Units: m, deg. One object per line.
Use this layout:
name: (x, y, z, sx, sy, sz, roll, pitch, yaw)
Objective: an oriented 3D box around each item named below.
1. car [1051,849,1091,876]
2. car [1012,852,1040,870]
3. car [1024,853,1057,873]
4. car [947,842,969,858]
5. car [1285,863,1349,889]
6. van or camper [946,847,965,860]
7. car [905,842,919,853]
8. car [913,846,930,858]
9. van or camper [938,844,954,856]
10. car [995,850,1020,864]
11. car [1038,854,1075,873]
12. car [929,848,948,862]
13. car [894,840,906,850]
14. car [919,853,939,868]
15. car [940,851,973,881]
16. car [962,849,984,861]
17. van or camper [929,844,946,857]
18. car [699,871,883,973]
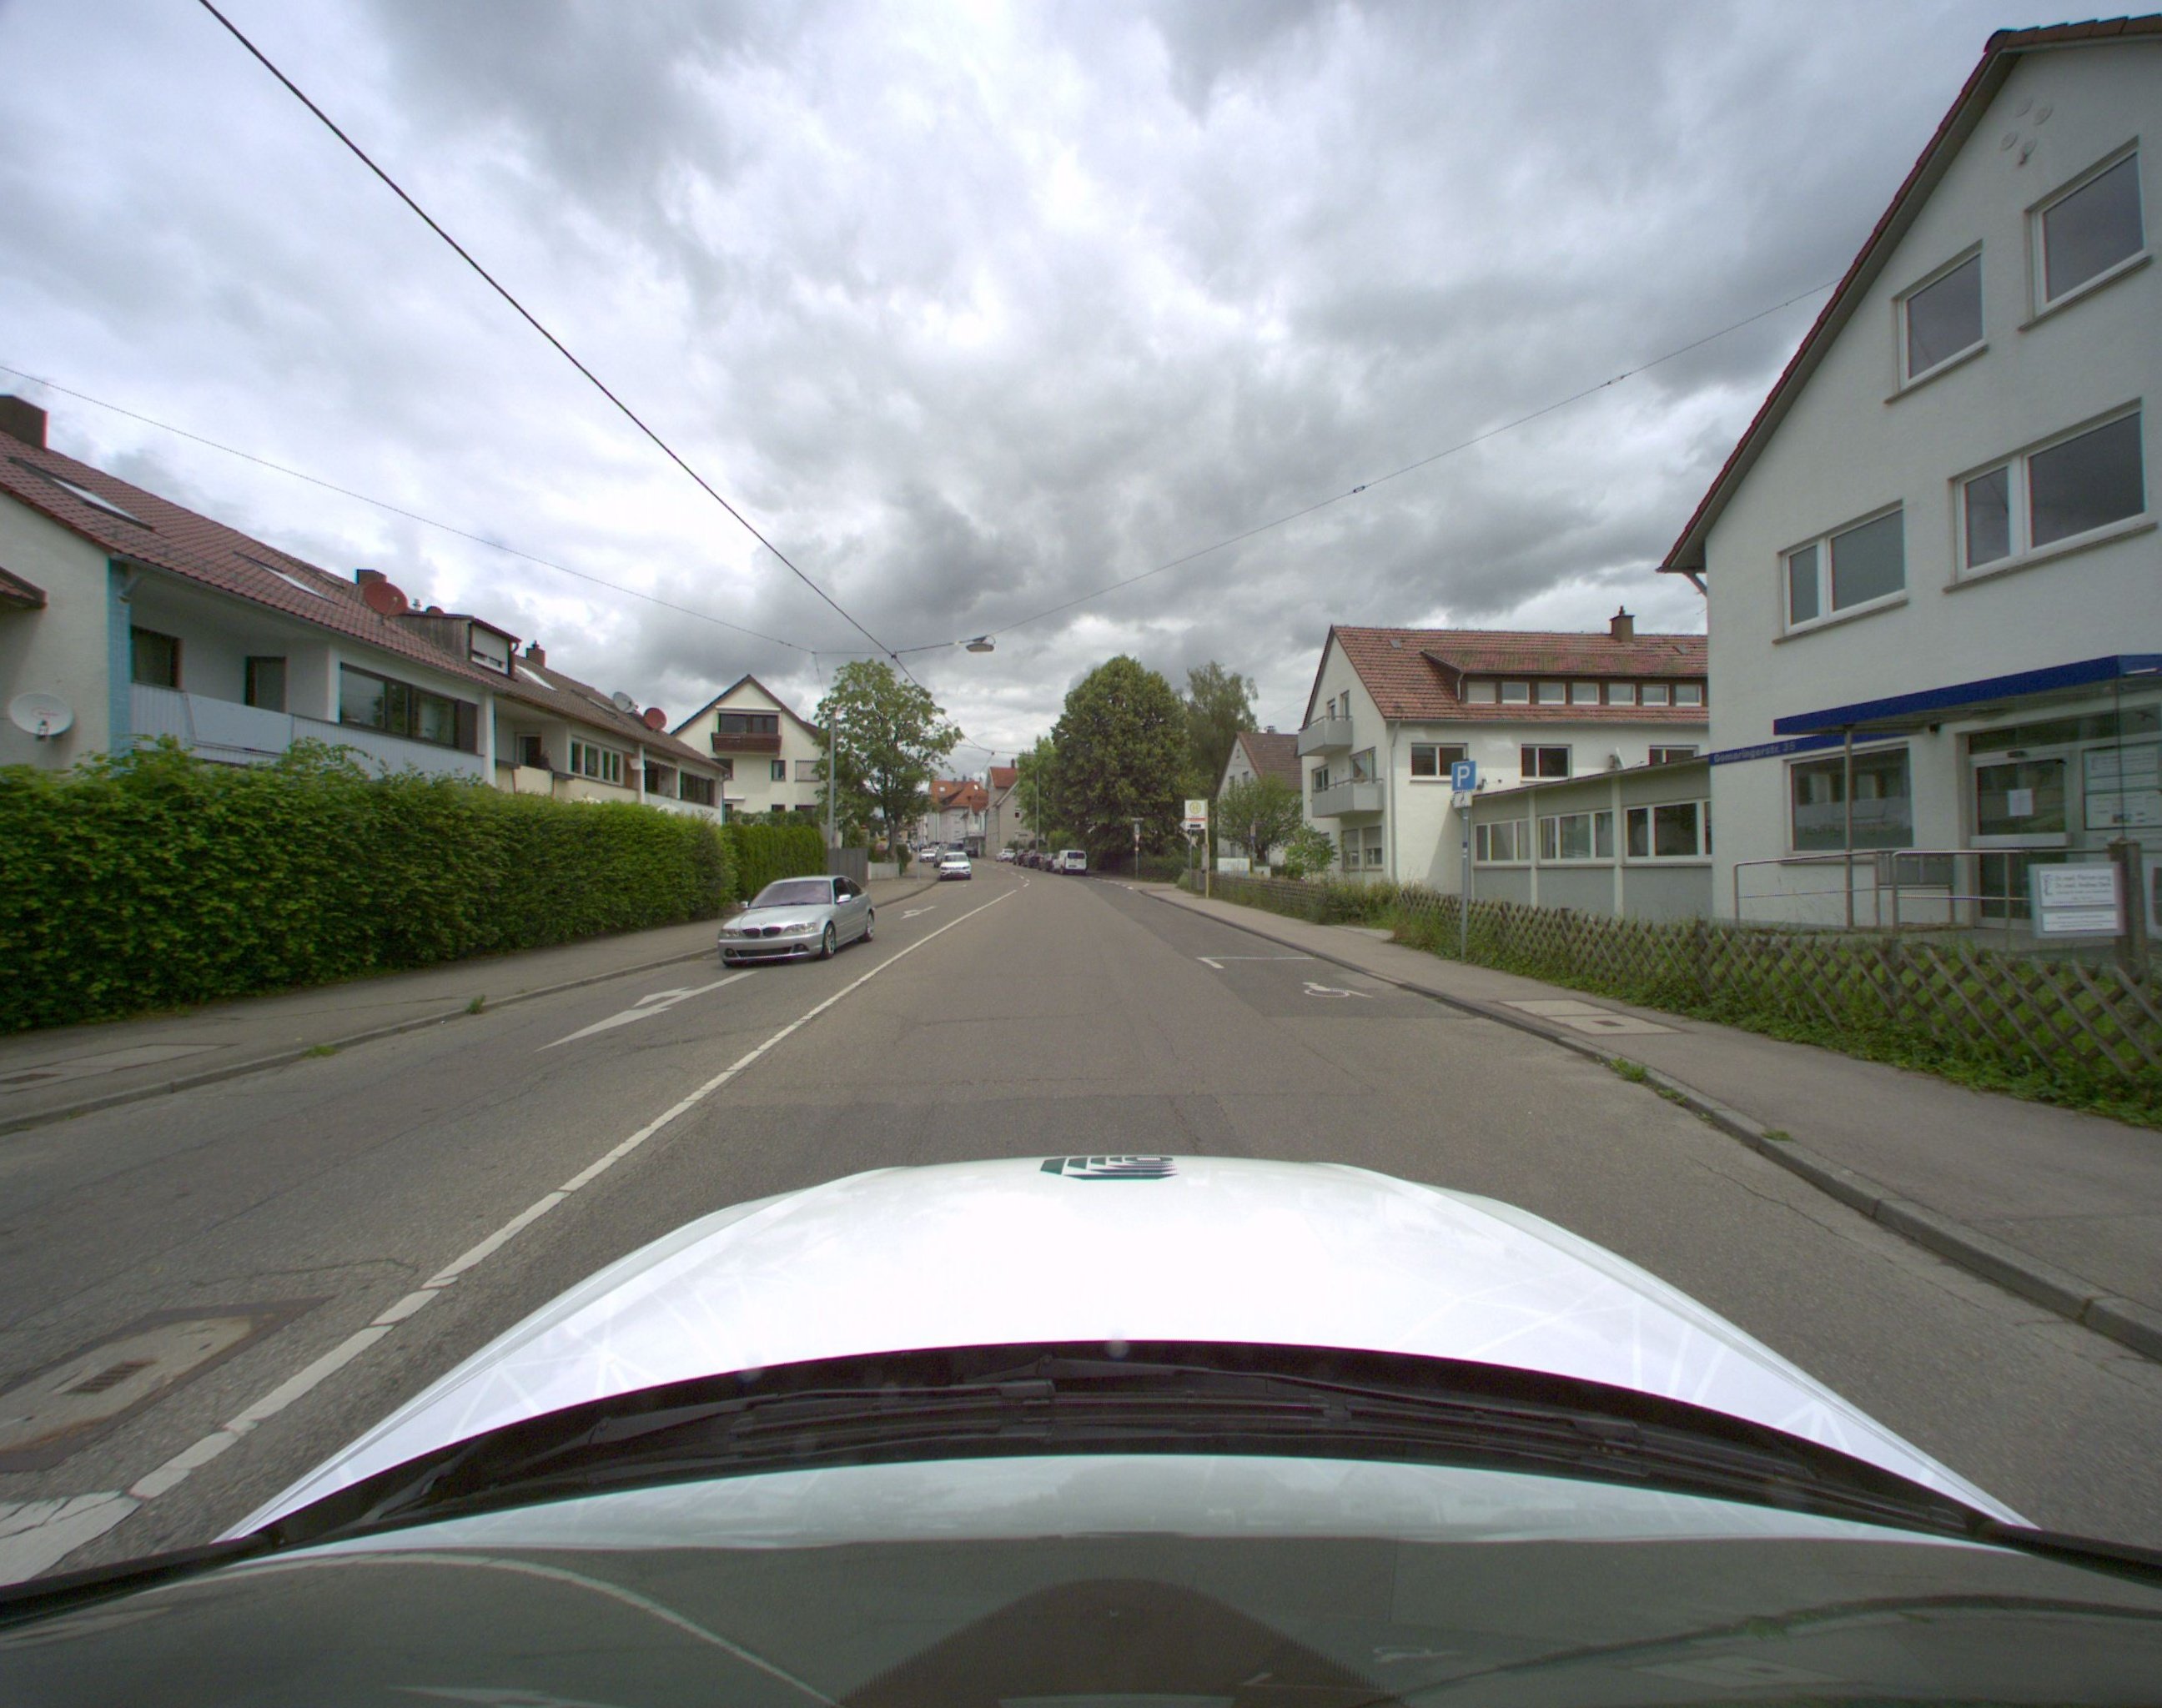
car: (-0.757, 0.565, 59.480, 1.841, 1.774, 4.295, 3, 0, -16)
car: (-5.264, 0.604, 76.963, 1.813, 1.615, 4.517, 2, 0, -14)
car: (-3.600, 0.734, 71.381, 1.996, 1.615, 4.517, 2, 0, -14)
car: (-16.288, -0.599, 107.583, 2.159, 2.013, 3.974, 2, 0, -20)
car: (15.343, 1.451, 53.057, 3.706, 1.564, 1.677, 2, -2, -18)
van or camper: (-19.014, -0.100, 123.191, 1.932, 1.925, 4.799, 1, 0, -19)
car: (-32.811, -1.211, 157.928, 2.159, 2.013, 3.974, 2, 0, -20)
car: (-27.294, -0.352, 139.130, 2.159, 2.013, 3.974, 2, 0, -20)
van or camper: (-22.350, -0.659, 134.615, 1.877, 1.828, 4.650, 2, 0, -19)
car: (-7.968, 0.305, 88.033, 1.944, 1.439, 3.979, 1, 1, -15)
car: (-2.022, 0.742, 64.711, 1.996, 1.478, 4.597, 0, 0, -14)
car: (-21.675, 0.166, 123.401, 2.159, 2.013, 3.974, 2, 0, -20)
car: (-39.019, -1.892, 175.476, 2.159, 2.013, 3.974, 2, 0, -20)
car: (-16.650, 0.677, 88.965, 1.730, 1.458, 3.877, -3, 1, -16)
car: (-7.624, 0.693, 50.016, 1.849, 1.714, 4.561, -2, 0, -8)
car: (-14.975, 0.098, 112.585, 1.999, 1.517, 4.860, 2, 0, -19)
van or camper: (-25.037, -0.577, 141.781, 1.999, 2.065, 5.907, 3, 0, -19)
car: (-4.935, 1.078, 14.529, 1.707, 1.354, 4.082, -5, 0, 0)
